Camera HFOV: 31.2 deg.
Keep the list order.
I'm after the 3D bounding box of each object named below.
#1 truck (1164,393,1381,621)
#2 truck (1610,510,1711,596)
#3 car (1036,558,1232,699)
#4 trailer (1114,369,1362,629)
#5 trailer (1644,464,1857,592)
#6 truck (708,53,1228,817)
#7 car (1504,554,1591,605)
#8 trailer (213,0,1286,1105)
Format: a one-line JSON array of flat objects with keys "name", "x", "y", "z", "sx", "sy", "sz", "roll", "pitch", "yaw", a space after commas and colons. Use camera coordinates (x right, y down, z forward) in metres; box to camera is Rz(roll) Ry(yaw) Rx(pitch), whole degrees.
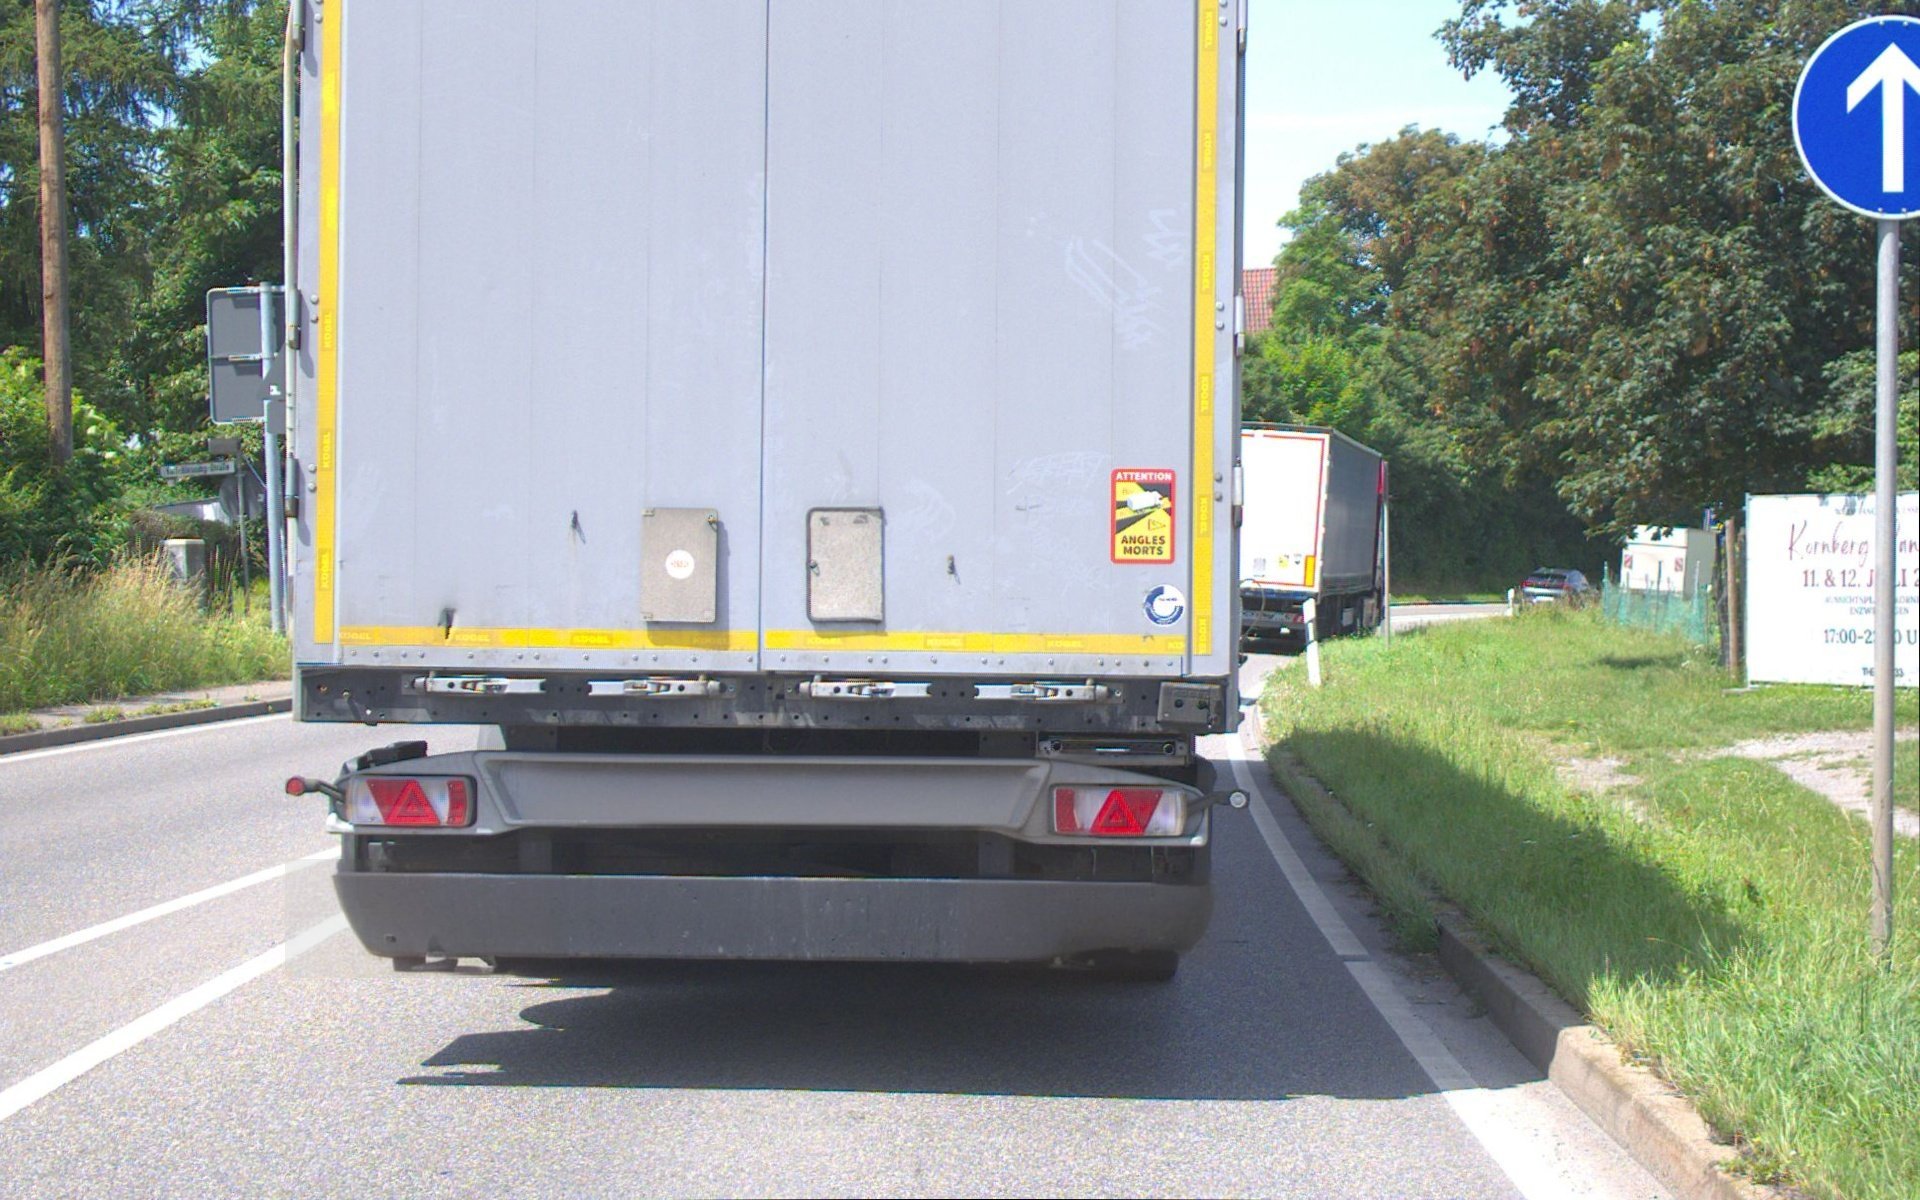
[{"name": "truck", "x": 6.700, "y": -1.929, "z": 72.649, "sx": 3.938, "sy": 4.559, "sz": 7.149, "roll": 0, "pitch": 1, "yaw": 10}, {"name": "truck", "x": 23.722, "y": -1.614, "z": 116.252, "sx": 2.423, "sy": 2.828, "sz": 5.406, "roll": 1, "pitch": 1, "yaw": 22}, {"name": "car", "x": 2.079, "y": 0.291, "z": 40.083, "sx": 1.994, "sy": 1.525, "sz": 3.999, "roll": 1, "pitch": 1, "yaw": 7}, {"name": "trailer", "x": 5.560, "y": -1.907, "z": 66.107, "sx": 3.892, "sy": 4.505, "sz": 12.709, "roll": 0, "pitch": 1, "yaw": 8}, {"name": "trailer", "x": 30.537, "y": -2.787, "z": 132.017, "sx": 5.186, "sy": 4.612, "sz": 15.876, "roll": 1, "pitch": 2, "yaw": 23}, {"name": "truck", "x": 0.267, "y": -0.985, "z": 21.872, "sx": 2.746, "sy": 4.151, "sz": 6.142, "roll": 1, "pitch": 1, "yaw": 5}, {"name": "car", "x": 17.955, "y": -0.646, "z": 104.954, "sx": 1.843, "sy": 1.481, "sz": 3.996, "roll": 1, "pitch": 1, "yaw": 21}, {"name": "trailer", "x": -0.201, "y": -0.944, "z": 14.944, "sx": 2.787, "sy": 4.191, "sz": 12.110, "roll": 0, "pitch": 1, "yaw": 3}]
